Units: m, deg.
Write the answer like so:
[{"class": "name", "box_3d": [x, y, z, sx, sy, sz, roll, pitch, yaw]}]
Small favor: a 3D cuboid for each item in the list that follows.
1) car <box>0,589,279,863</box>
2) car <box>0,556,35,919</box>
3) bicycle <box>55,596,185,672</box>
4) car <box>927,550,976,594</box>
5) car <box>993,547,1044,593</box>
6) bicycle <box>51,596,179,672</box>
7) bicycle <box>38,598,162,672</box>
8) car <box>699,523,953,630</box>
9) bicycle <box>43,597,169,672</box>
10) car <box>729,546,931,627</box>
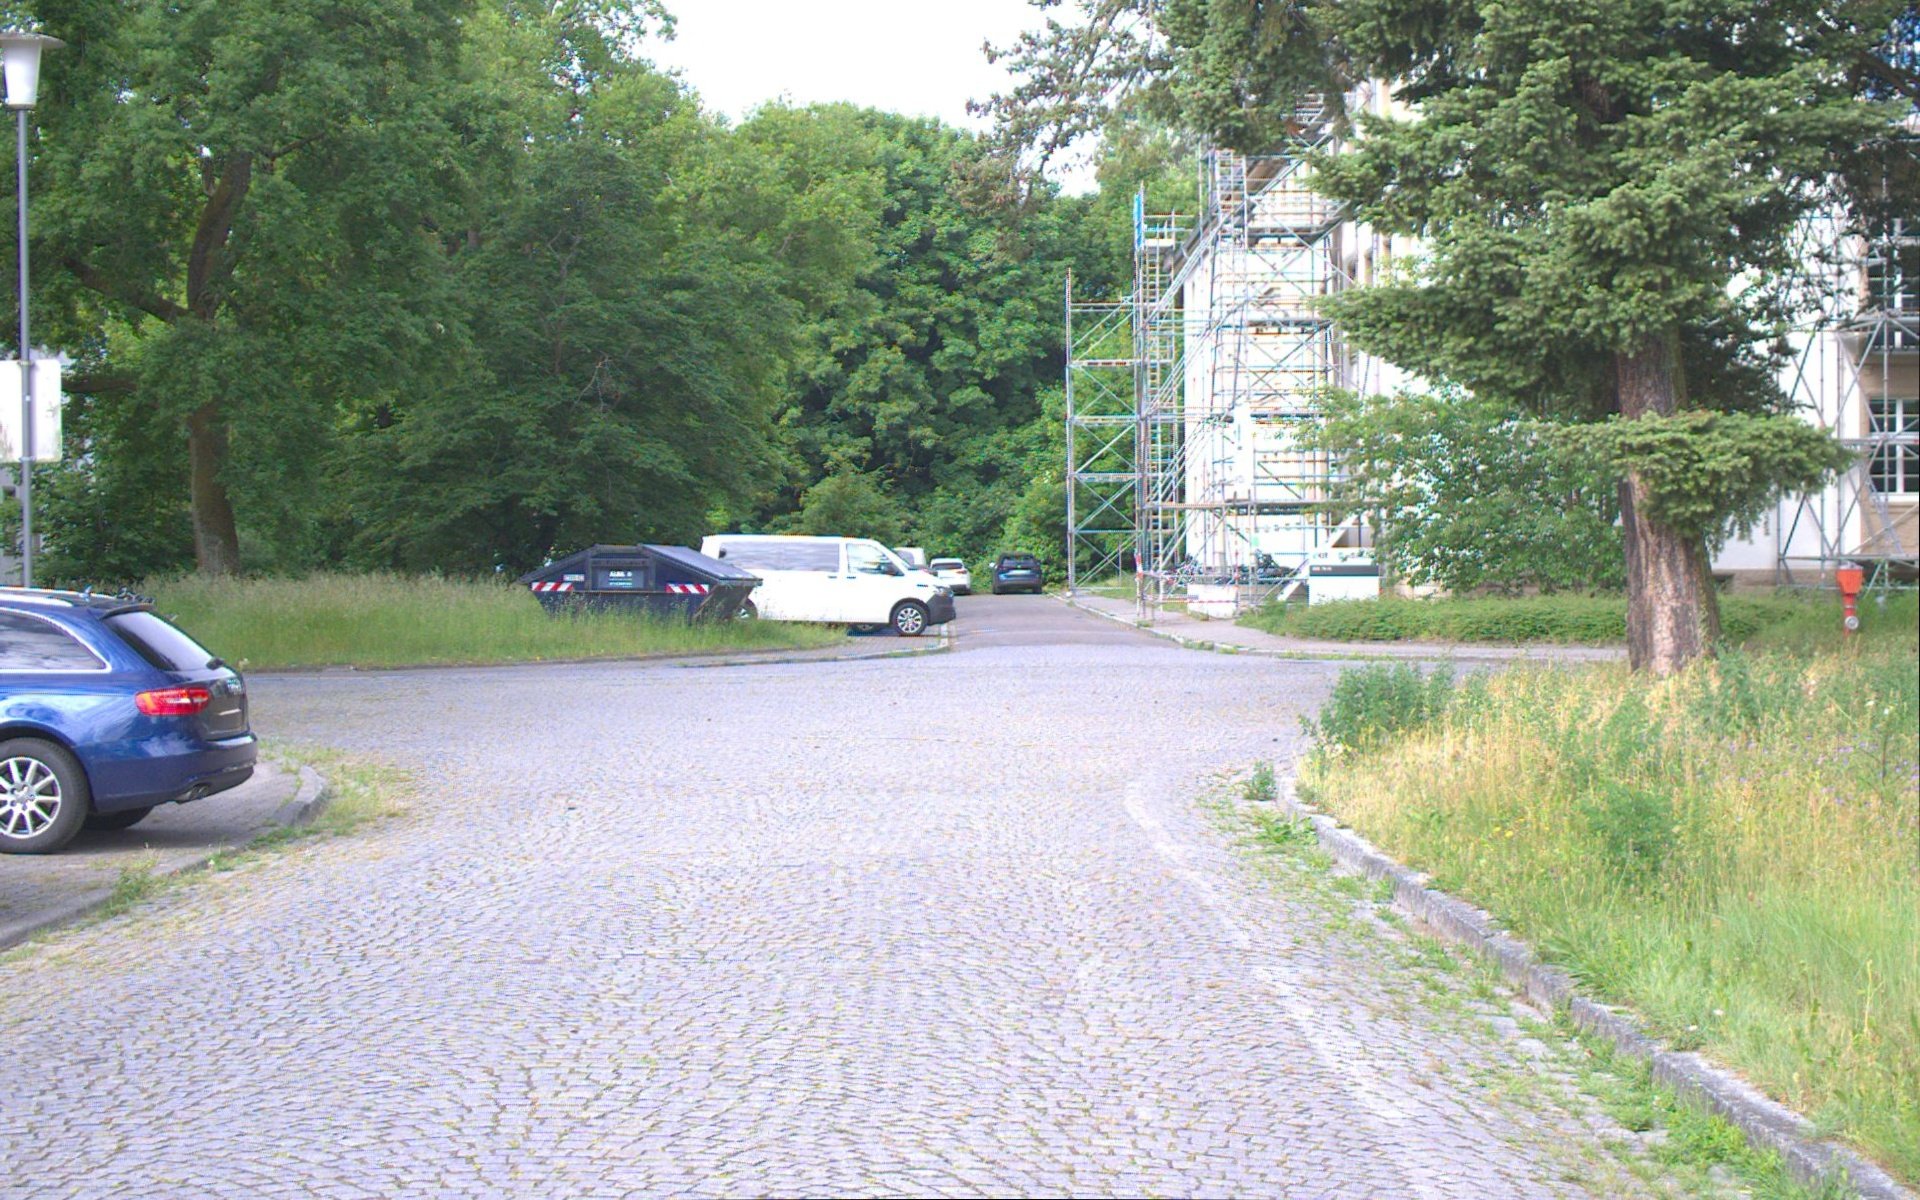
[{"class": "car", "box_3d": [-6.096, 0.683, 19.574, 4.072, 1.462, 1.625, 0, 1, 4]}, {"class": "car", "box_3d": [-6.274, 0.620, 14.876, 4.071, 1.598, 1.788, 0, 1, -1]}, {"class": "bicycle", "box_3d": [-11.747, 0.474, 48.095, 1.701, 1.050, 0.574, -1, -1, -20]}, {"class": "car", "box_3d": [-0.347, -1.087, 134.570, 1.790, 1.630, 4.061, -1, -1, -2]}, {"class": "car", "box_3d": [2.276, -1.160, 134.884, 1.790, 1.714, 4.061, -1, -1, -2]}, {"class": "bicycle", "box_3d": [-11.962, 0.483, 48.658, 1.701, 1.050, 0.574, -1, -1, -20]}, {"class": "bicycle", "box_3d": [-12.577, 0.510, 50.281, 1.701, 1.050, 0.574, -1, -1, -20]}, {"class": "car", "box_3d": [-2.657, -0.457, 68.532, 4.978, 2.065, 2.052, 0, -1, -1]}, {"class": "bicycle", "box_3d": [-12.305, 0.498, 49.554, 1.701, 1.050, 0.574, -1, -1, -20]}, {"class": "car", "box_3d": [-3.227, -0.331, 85.950, 4.978, 1.961, 2.052, 0, -1, -1]}]
